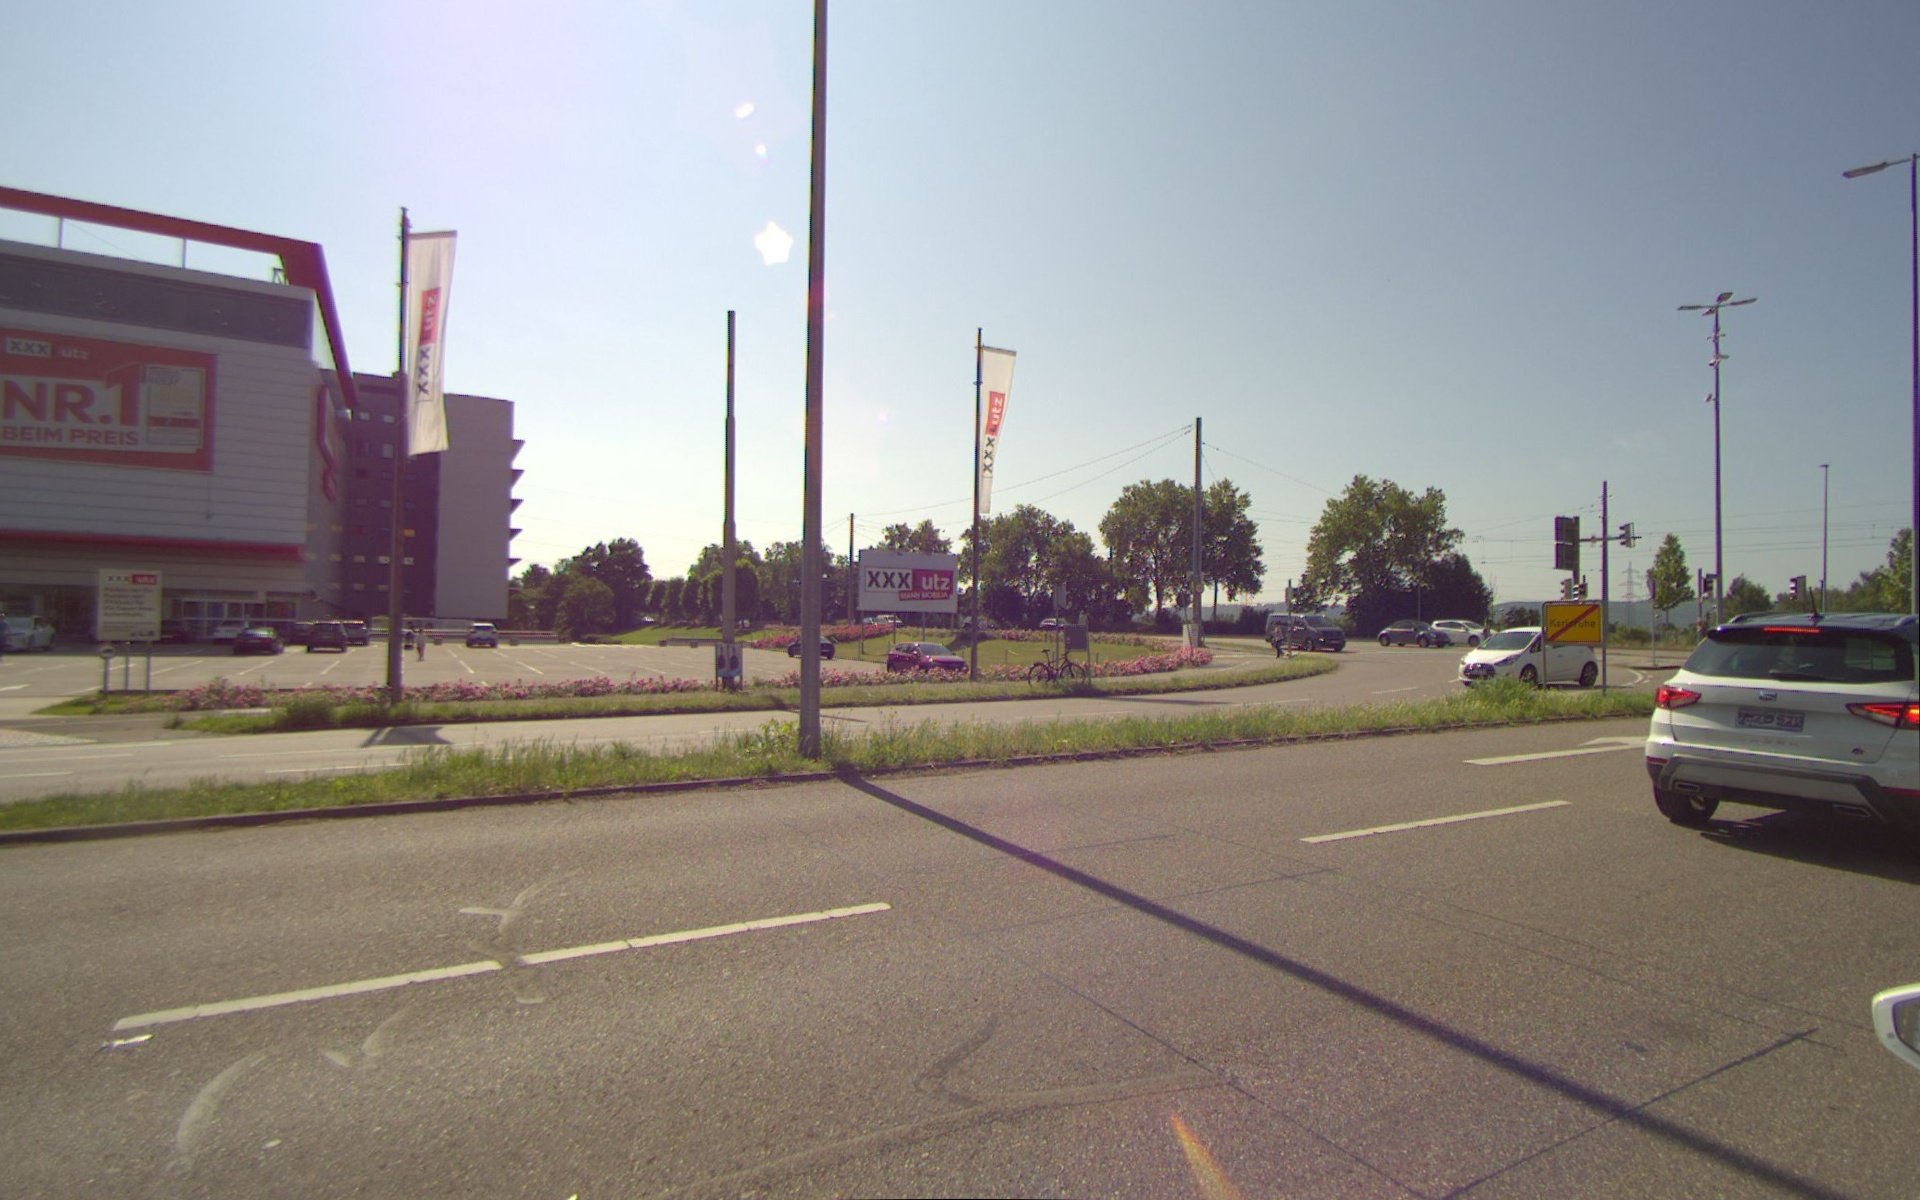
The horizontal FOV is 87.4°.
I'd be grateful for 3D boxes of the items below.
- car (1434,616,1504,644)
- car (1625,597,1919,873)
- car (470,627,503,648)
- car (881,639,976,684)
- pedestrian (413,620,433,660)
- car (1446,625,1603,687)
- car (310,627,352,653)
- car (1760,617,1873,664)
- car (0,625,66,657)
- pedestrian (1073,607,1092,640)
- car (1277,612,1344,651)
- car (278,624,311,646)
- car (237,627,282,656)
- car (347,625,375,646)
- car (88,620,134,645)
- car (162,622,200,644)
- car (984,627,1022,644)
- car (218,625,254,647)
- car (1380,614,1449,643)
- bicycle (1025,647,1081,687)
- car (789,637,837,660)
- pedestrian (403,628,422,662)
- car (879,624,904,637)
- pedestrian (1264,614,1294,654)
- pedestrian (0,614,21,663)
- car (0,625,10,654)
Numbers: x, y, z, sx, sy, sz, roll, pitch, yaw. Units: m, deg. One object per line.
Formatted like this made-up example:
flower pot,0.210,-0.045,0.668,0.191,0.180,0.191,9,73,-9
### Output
car,28.932,1.696,57.203,1.395,1.519,3.324,3,-3,-33
car,6.719,0.760,7.259,3.822,1.518,1.624,-1,0,-29
car,-32.487,2.560,68.829,1.731,1.347,3.645,3,-3,-30
car,-1.302,2.379,39.617,1.808,1.626,4.158,3,-3,-34
pedestrian,-25.864,1.940,48.370,0.489,1.920,0.784,0,-2,1
car,15.235,1.484,27.101,4.034,1.567,1.787,2,-2,-27
car,-34.093,2.140,54.531,1.758,1.347,3.073,3,-3,-30
car,19.291,0.900,22.616,2.461,1.017,1.113,1,-2,-28
car,-42.657,1.864,46.126,1.498,1.347,4.280,3,-3,-30
pedestrian,7.607,1.485,62.633,0.905,1.998,0.714,2,-2,-25
car,18.436,1.621,53.006,1.783,1.951,3.995,0,0,-8
car,-42.465,2.245,64.116,1.498,1.347,3.073,3,-3,-30
car,-34.387,2.002,49.329,1.498,1.347,3.073,3,-3,-30
car,-38.959,2.295,65.373,1.498,1.347,3.073,3,-3,-30
car,-49.719,1.902,58.887,1.498,1.347,3.073,3,-3,-30
car,-46.668,1.982,60.188,1.350,1.283,3.073,3,-3,-30
car,4.058,3.391,95.825,1.742,1.540,3.968,1,-2,-30
car,-44.144,2.192,61.267,1.425,1.241,3.073,3,-3,-30
car,25.585,1.609,56.676,1.394,1.519,3.369,3,-3,-31
bicycle,2.513,1.803,27.021,1.626,1.036,0.328,4,-4,-34
car,-9.399,3.068,64.107,1.709,1.347,3.829,3,-3,-30
pedestrian,-33.719,2.775,61.855,0.964,2.040,0.942,1,-2,-29
car,-8.443,3.769,123.472,1.614,1.646,3.754,1,-2,-31
pedestrian,14.005,1.494,44.128,0.891,1.729,0.839,0,-2,-18
pedestrian,-37.297,1.494,39.165,0.743,1.882,0.850,1,-2,-29
car,-43.880,1.763,44.689,1.571,1.347,3.388,1,-2,-30
